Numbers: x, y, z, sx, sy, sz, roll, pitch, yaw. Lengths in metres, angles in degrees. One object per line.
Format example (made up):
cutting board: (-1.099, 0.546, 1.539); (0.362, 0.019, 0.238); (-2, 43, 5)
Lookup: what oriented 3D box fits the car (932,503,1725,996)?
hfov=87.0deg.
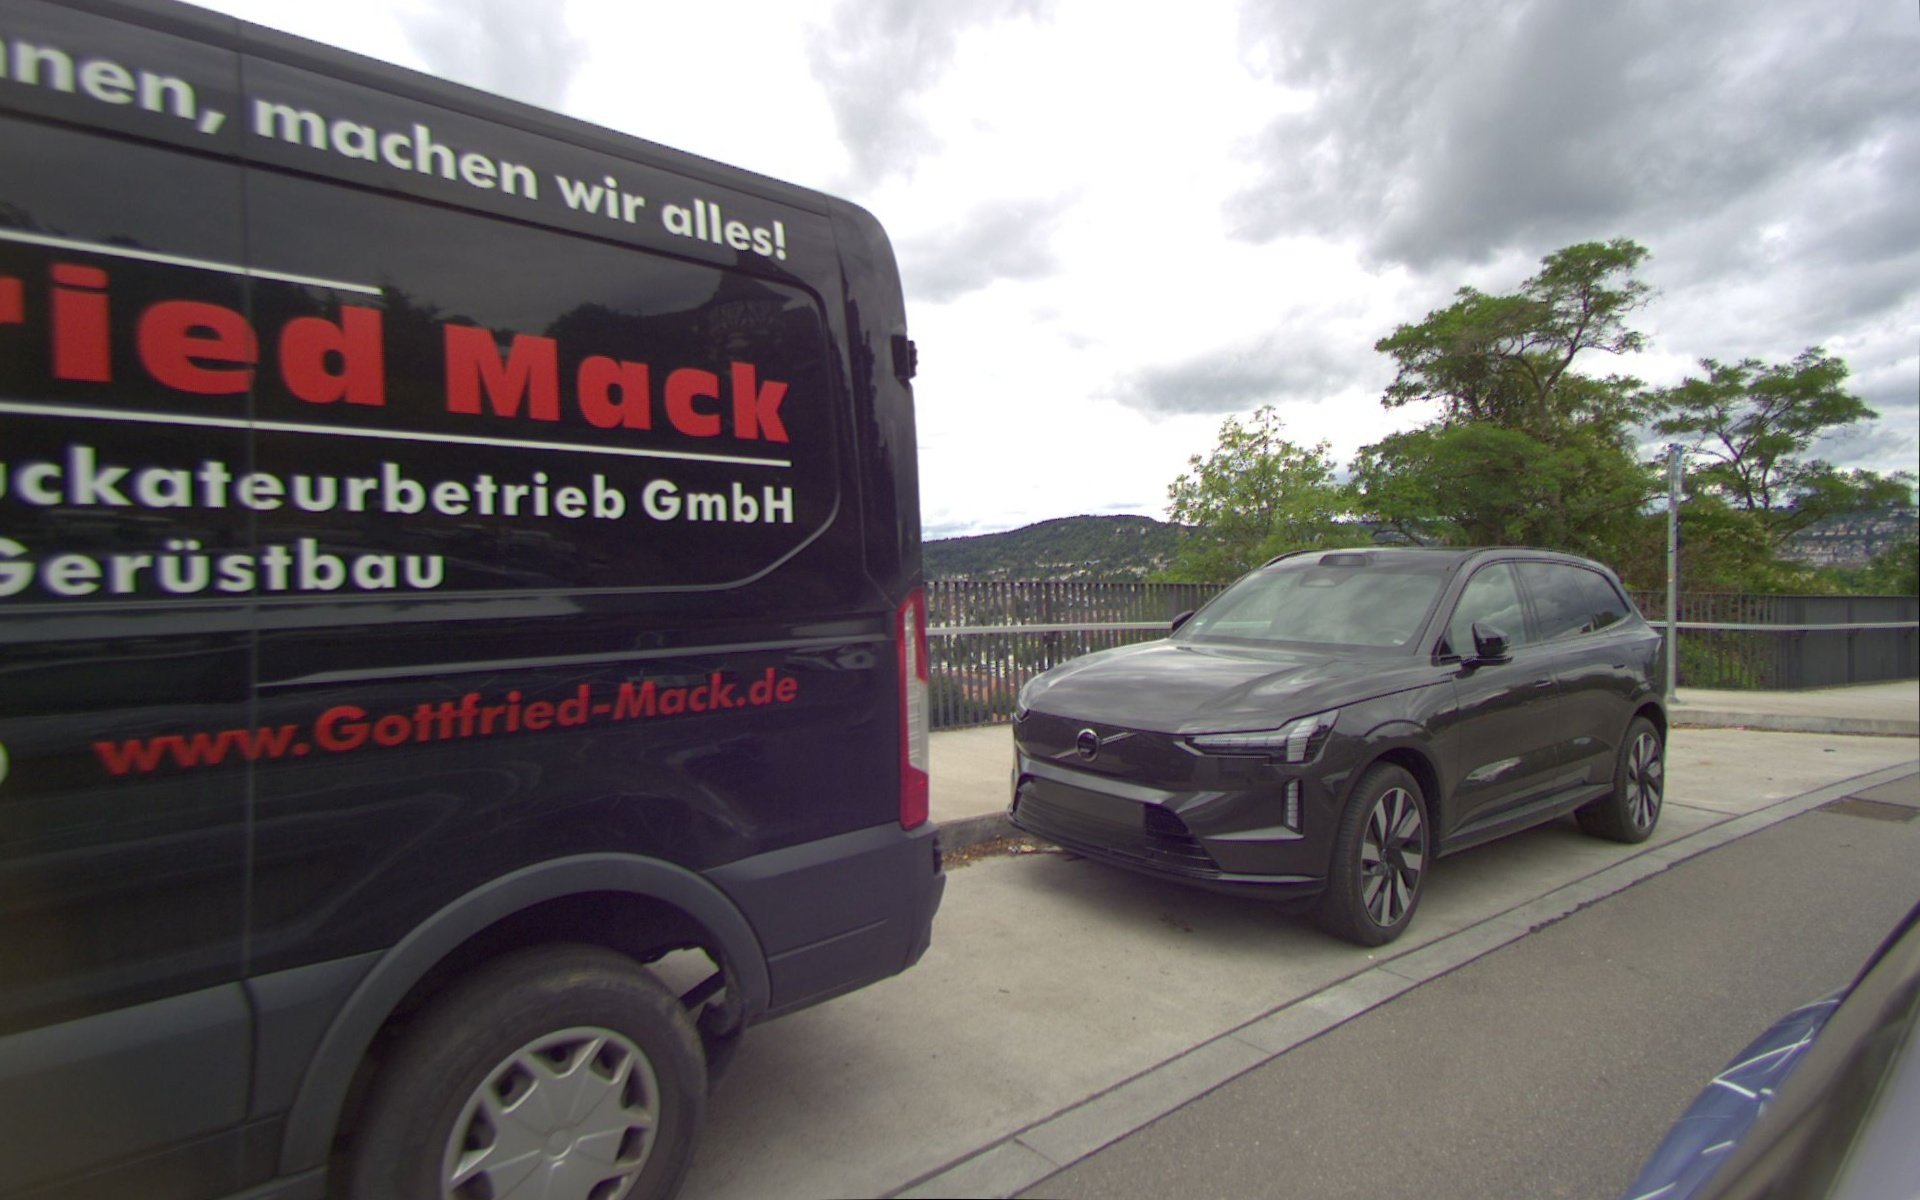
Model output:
car: (2.418, 0.434, 5.876); (4.958, 1.739, 1.999); (-1, 3, -38)

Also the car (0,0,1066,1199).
car: (-2.584, 0.028, 1.741); (5.670, 2.552, 2.171); (0, 3, -41)
